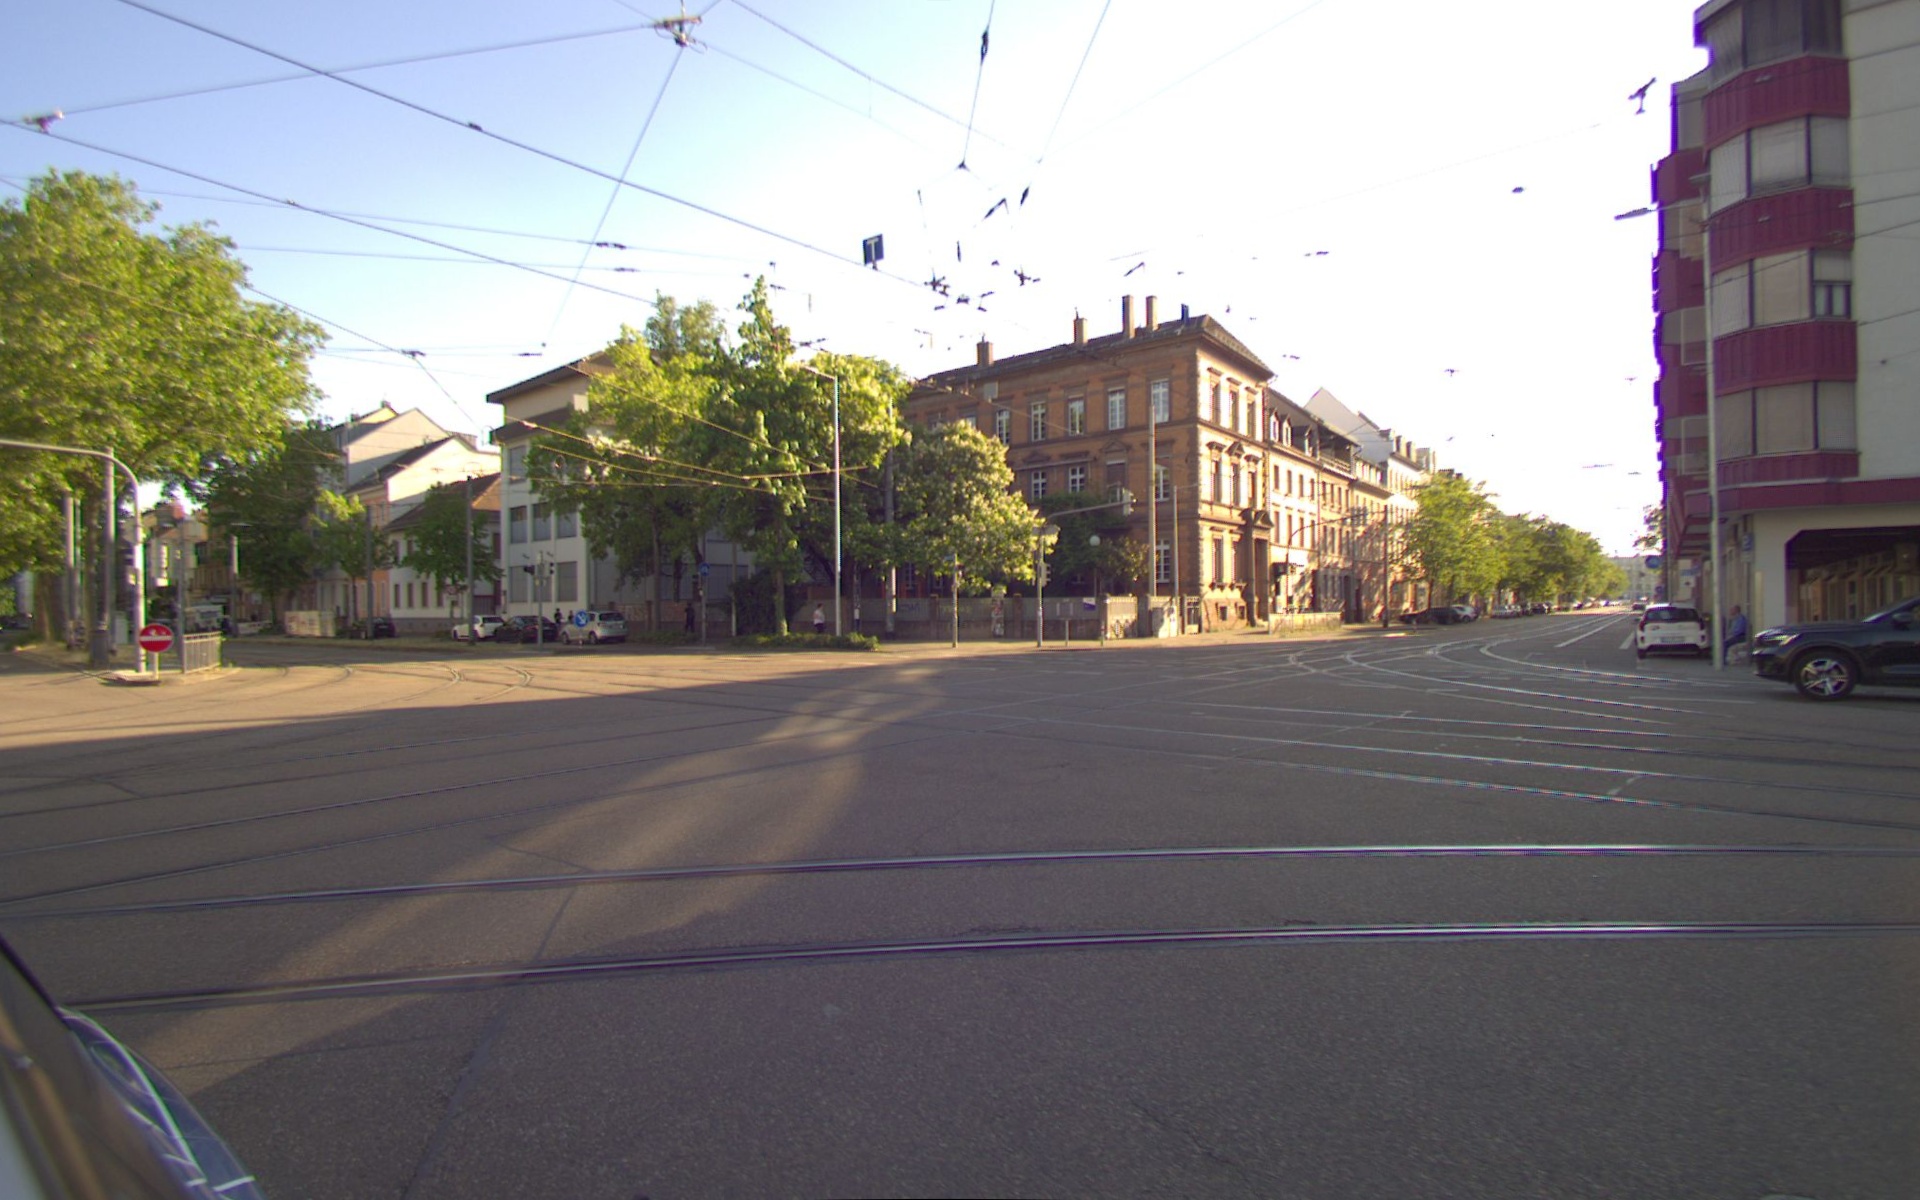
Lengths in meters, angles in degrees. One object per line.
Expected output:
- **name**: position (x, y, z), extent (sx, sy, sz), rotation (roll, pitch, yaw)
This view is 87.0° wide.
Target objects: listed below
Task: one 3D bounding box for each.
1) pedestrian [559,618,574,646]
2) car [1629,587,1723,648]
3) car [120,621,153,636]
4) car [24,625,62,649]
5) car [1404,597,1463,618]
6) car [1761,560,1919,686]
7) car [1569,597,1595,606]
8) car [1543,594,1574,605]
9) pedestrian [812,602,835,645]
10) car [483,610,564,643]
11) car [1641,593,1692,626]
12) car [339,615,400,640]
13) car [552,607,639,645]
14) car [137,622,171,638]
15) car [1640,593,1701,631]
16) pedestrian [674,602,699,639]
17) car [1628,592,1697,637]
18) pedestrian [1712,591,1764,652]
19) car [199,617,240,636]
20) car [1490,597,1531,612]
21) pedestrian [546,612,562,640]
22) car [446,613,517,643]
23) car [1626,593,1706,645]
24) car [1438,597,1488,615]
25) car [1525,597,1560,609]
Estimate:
- **pedestrian**: position (-22.011, 1.804, 56.622), extent (0.711, 1.540, 0.530), rotation (-2, -1, 42)
- **car**: position (20.004, 0.459, 28.345), extent (1.995, 1.567, 3.953), rotation (-1, -1, 35)
- **car**: position (-97.144, 3.373, 119.308), extent (5.101, 1.551, 2.061), rotation (-1, 2, 40)
- **car**: position (-75.436, 3.010, 83.262), extent (4.000, 1.785, 1.972), rotation (-1, 1, 43)
- **car**: position (37.691, 0.600, 80.593), extent (3.990, 1.586, 1.977), rotation (-1, -1, 34)
- **car**: position (13.761, 0.289, 13.838), extent (4.260, 1.685, 1.934), rotation (-2, -1, 43)
- **car**: position (102.736, 0.203, 167.147), extent (3.545, 1.412, 1.678), rotation (-1, 1, 38)
- **car**: position (83.530, -0.054, 141.311), extent (3.545, 1.412, 1.678), rotation (-1, 1, 38)
- **pedestrian**: position (-5.568, 0.959, 41.244), extent (0.631, 1.677, 0.562), rotation (-2, 2, 41)
- **car**: position (-22.667, 1.369, 52.522), extent (4.454, 1.513, 2.061), rotation (-1, 2, 40)
- **car**: position (34.938, 0.458, 50.088), extent (1.995, 1.567, 4.530), rotation (-1, -1, 35)
- **car**: position (-39.514, 1.863, 67.731), extent (4.576, 1.481, 2.061), rotation (-1, 2, 40)
- **car**: position (-17.393, 1.227, 48.258), extent (4.095, 1.631, 2.061), rotation (-1, 2, 40)
- **car**: position (-87.744, 3.219, 110.170), extent (4.513, 1.551, 2.061), rotation (-1, 2, 40)
- **car**: position (30.384, 0.495, 43.330), extent (1.995, 1.567, 4.530), rotation (-1, -1, 35)
- **pedestrian**: position (-13.326, 0.990, 49.281), extent (1.019, 1.765, 0.726), rotation (-2, -1, 41)
- **car**: position (26.433, 0.527, 38.129), extent (1.995, 1.567, 4.530), rotation (-1, -1, 35)
- **pedestrian**: position (17.979, 0.491, 23.404), extent (0.834, 1.395, 0.850), rotation (-1, -1, 33)
- **car**: position (-69.973, 2.494, 95.671), extent (4.529, 1.686, 2.061), rotation (-1, 2, 40)
- **car**: position (57.302, 0.478, 105.373), extent (3.545, 1.412, 1.678), rotation (-1, -1, 38)
- **pedestrian**: position (-22.397, 1.430, 55.801), extent (0.710, 1.540, 0.531), rotation (-1, -1, 36)
- **car**: position (-26.749, 1.554, 56.536), extent (3.994, 1.501, 2.061), rotation (-1, 2, 40)
- **car**: position (22.940, 0.590, 32.915), extent (1.995, 1.567, 4.074), rotation (-1, -1, 35)
- **car**: position (42.608, 0.512, 85.708), extent (3.545, 1.412, 1.678), rotation (-1, 1, 38)
- **car**: position (70.745, 0.338, 122.961), extent (3.545, 1.412, 1.678), rotation (-1, -1, 38)
